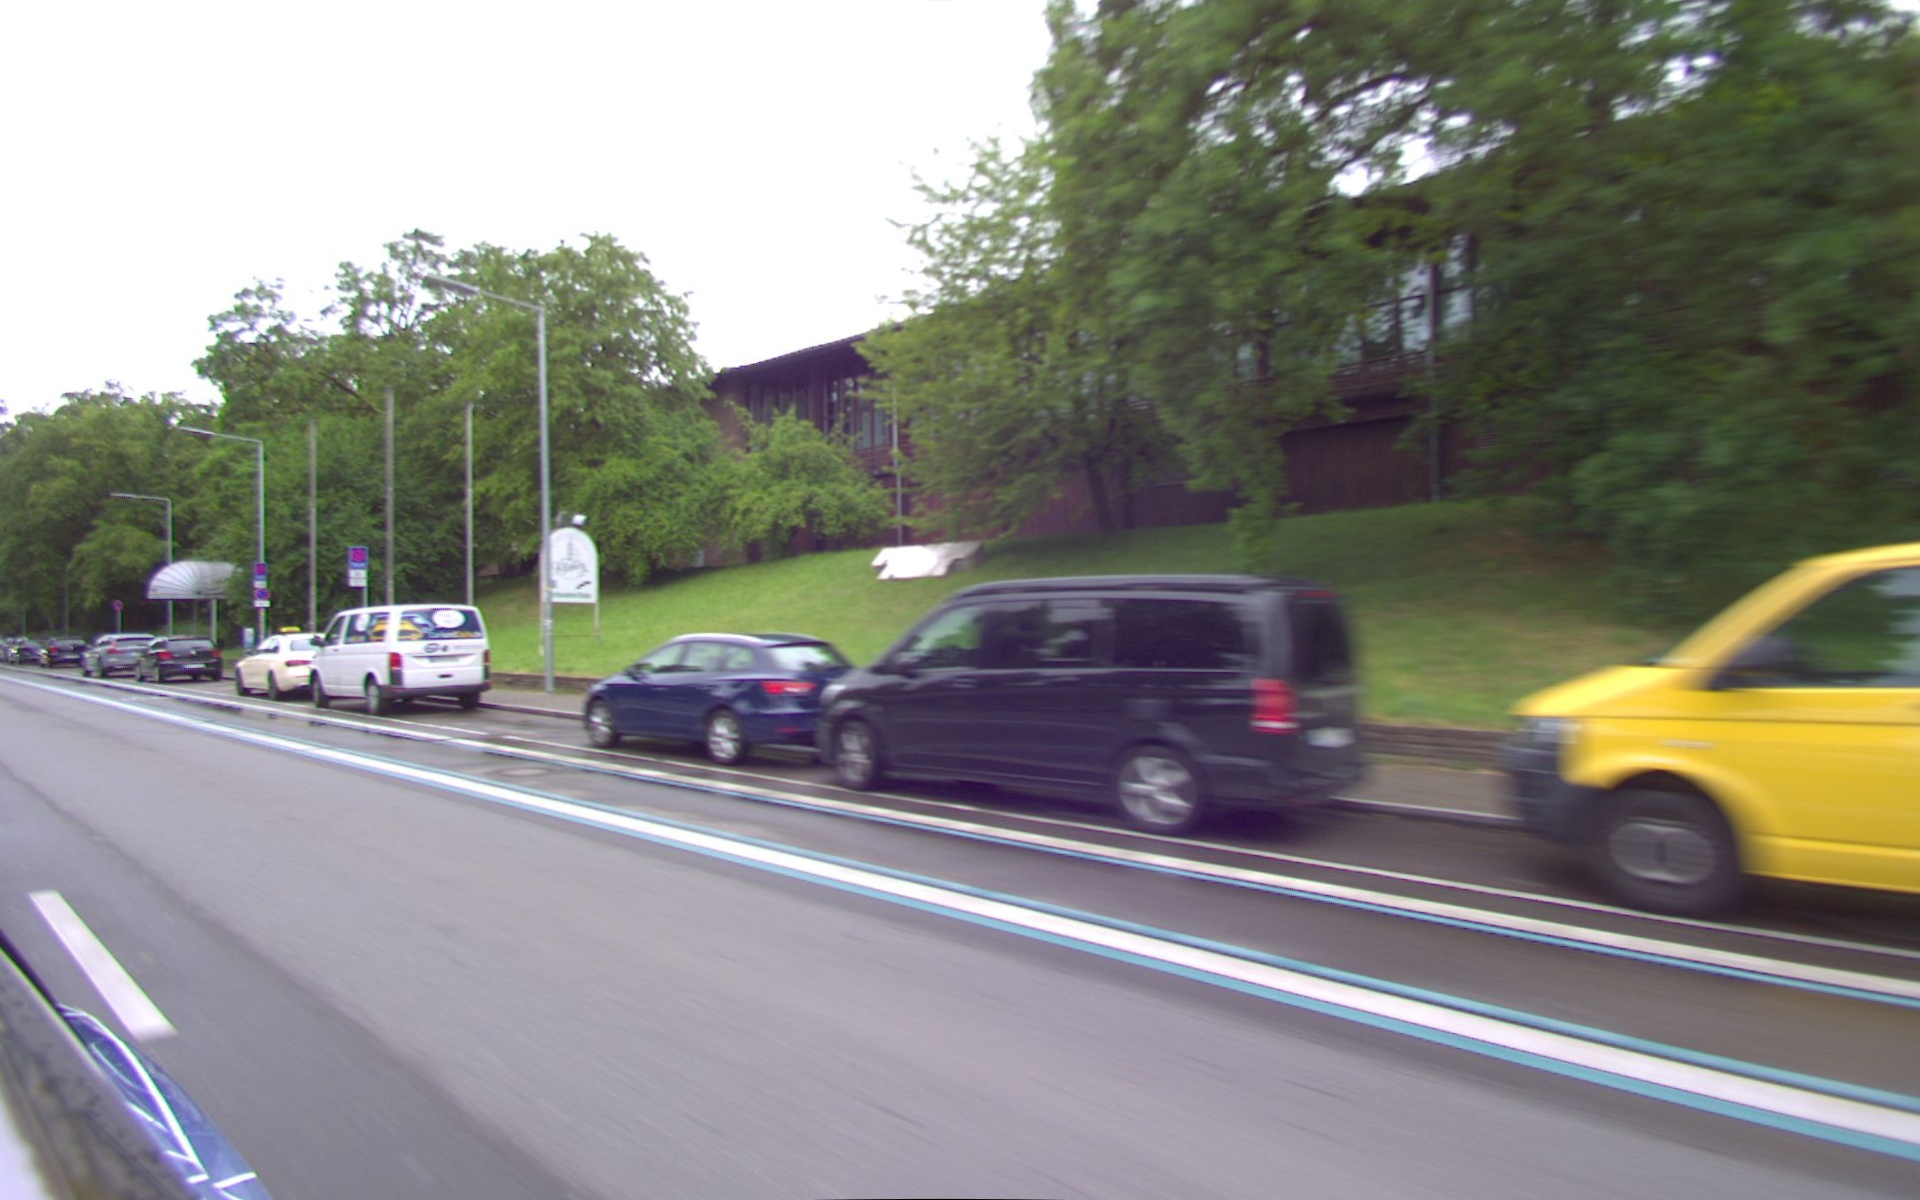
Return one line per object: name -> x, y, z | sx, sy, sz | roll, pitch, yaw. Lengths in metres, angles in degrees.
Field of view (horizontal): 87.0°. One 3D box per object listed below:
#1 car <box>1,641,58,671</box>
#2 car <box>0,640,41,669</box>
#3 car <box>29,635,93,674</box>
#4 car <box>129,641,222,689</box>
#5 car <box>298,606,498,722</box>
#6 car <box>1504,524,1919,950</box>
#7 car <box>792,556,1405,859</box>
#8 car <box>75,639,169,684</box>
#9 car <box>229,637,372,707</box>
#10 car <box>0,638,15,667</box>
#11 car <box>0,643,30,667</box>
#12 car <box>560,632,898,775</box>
car -> -49.909, 3.013, 54.251 | 4.541, 1.554, 1.798 | -3, -3, 42
car -> -55.426, 3.206, 59.344 | 4.232, 1.582, 1.798 | -3, -3, 42
car -> -42.973, 2.624, 48.360 | 3.998, 1.779, 1.798 | -3, -3, 42
car -> -24.568, 1.990, 31.666 | 3.584, 1.382, 1.658 | -2, -2, 42
car -> -10.974, 1.177, 19.614 | 4.732, 1.992, 1.853 | -2, -2, 40
car -> 5.545, 0.602, 4.838 | 4.842, 1.928, 1.972 | -2, -2, 42
car -> 0.901, 0.778, 8.908 | 5.202, 1.935, 1.857 | -2, -3, 41
car -> -29.716, 2.140, 35.856 | 4.324, 1.479, 1.772 | -2, -2, 40
car -> -15.449, 1.608, 23.608 | 4.594, 1.459, 1.708 | -2, -2, 42
car -> -64.460, 3.537, 67.472 | 3.742, 1.874, 1.798 | -4, -3, 42
car -> -59.951, 3.466, 63.575 | 4.125, 1.492, 1.798 | -3, -3, 42
car -> -2.998, 1.145, 12.533 | 4.608, 1.470, 1.666 | -2, -3, 40
